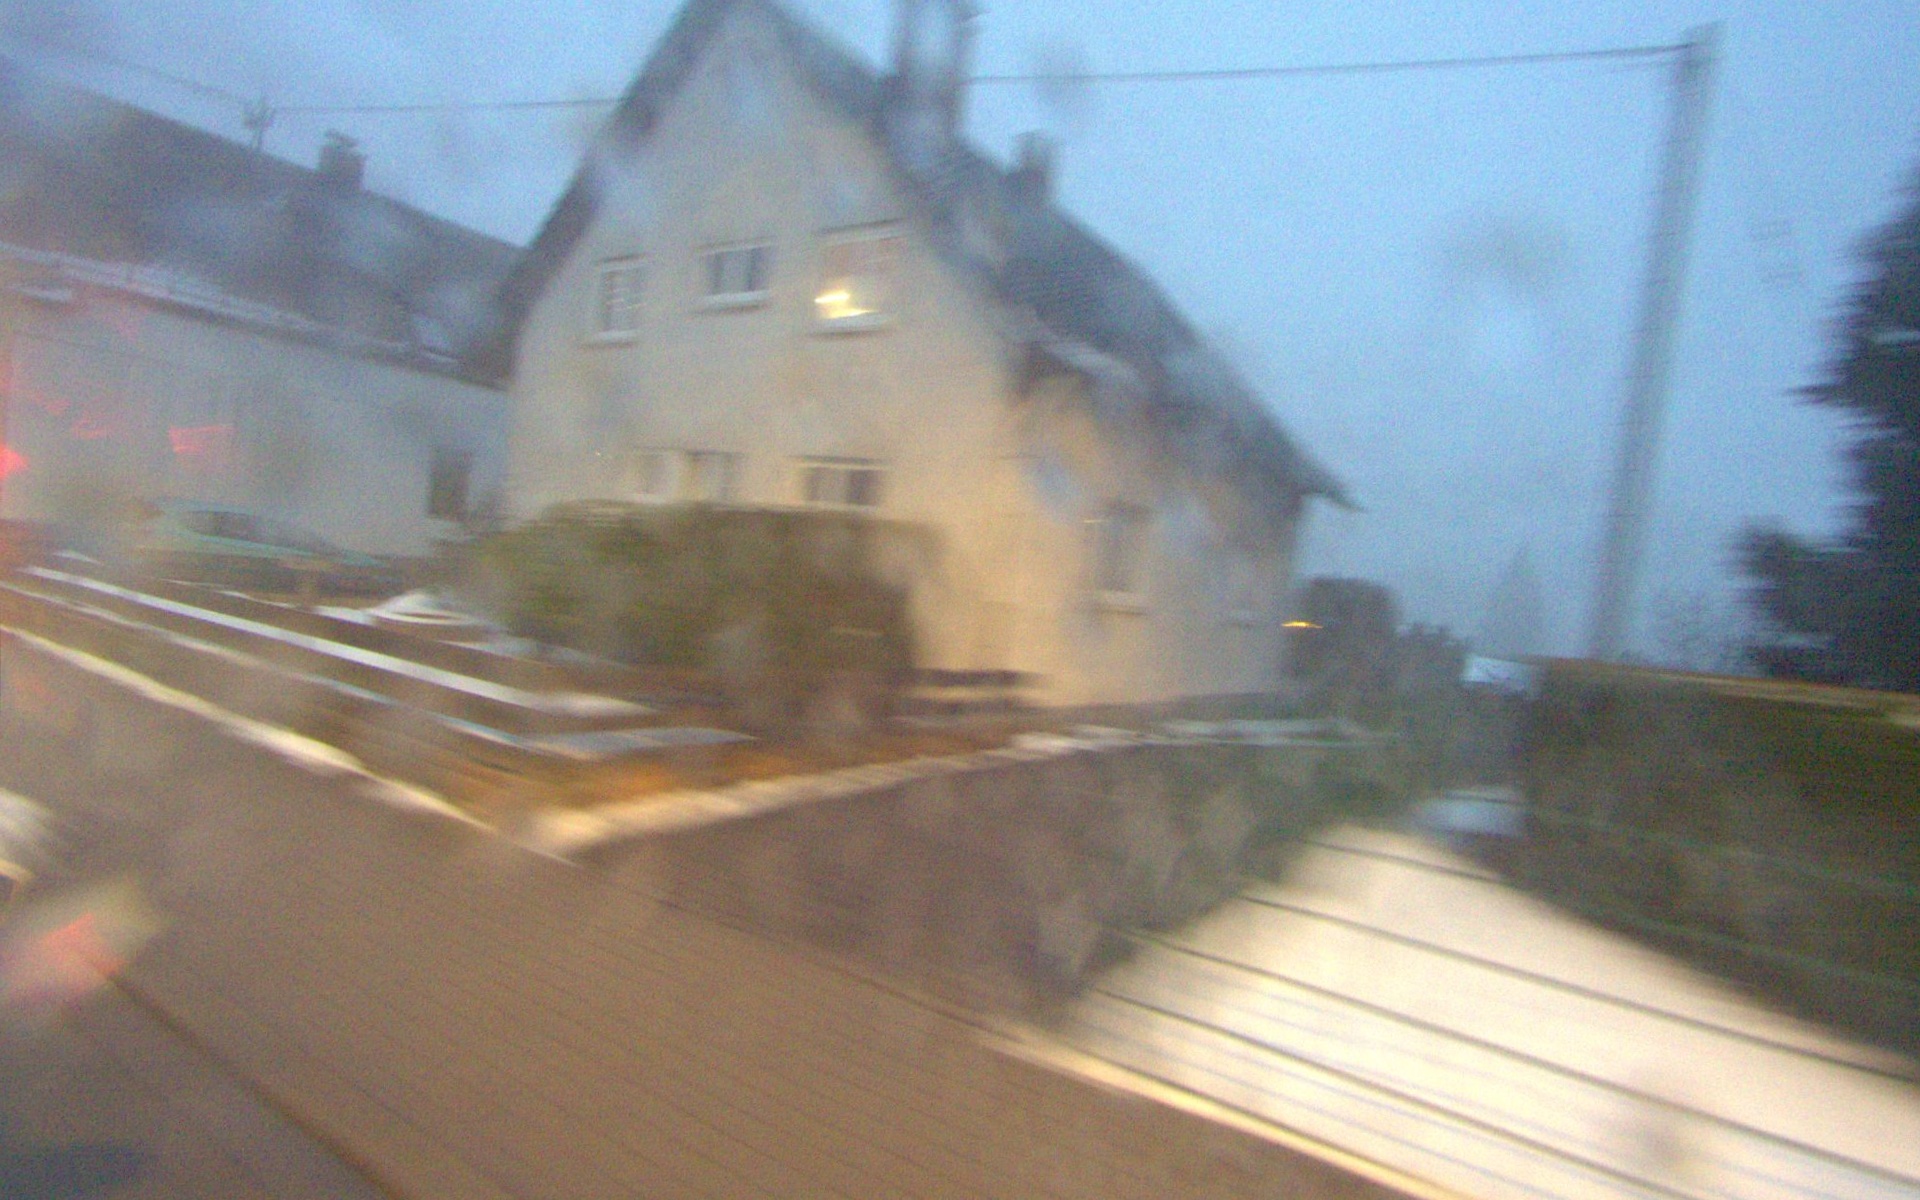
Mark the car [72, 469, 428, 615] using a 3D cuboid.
[{"bbox_3d":[-10.636,-0.798,15.347,1.687,1.470,3.990,11,1,35],"label":"car"}]
